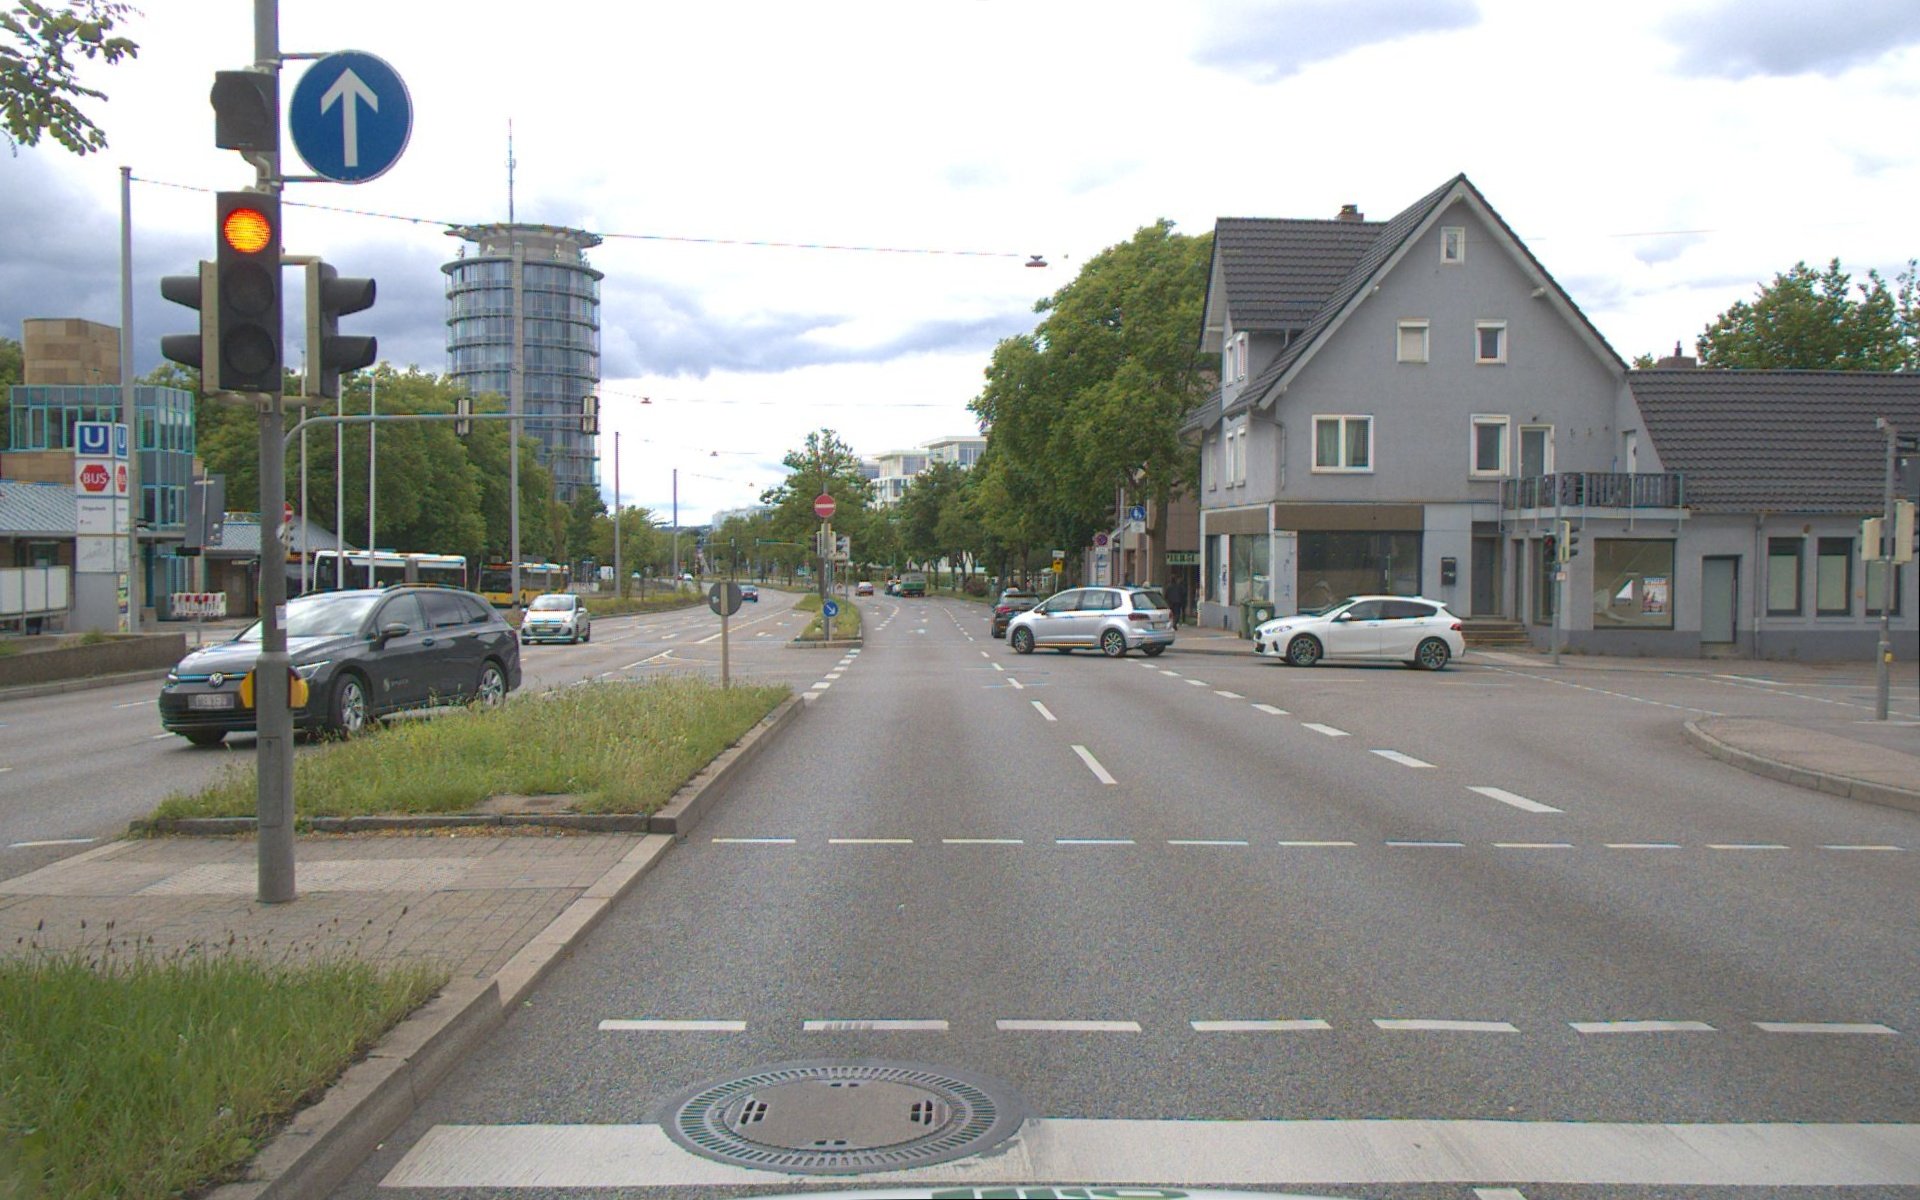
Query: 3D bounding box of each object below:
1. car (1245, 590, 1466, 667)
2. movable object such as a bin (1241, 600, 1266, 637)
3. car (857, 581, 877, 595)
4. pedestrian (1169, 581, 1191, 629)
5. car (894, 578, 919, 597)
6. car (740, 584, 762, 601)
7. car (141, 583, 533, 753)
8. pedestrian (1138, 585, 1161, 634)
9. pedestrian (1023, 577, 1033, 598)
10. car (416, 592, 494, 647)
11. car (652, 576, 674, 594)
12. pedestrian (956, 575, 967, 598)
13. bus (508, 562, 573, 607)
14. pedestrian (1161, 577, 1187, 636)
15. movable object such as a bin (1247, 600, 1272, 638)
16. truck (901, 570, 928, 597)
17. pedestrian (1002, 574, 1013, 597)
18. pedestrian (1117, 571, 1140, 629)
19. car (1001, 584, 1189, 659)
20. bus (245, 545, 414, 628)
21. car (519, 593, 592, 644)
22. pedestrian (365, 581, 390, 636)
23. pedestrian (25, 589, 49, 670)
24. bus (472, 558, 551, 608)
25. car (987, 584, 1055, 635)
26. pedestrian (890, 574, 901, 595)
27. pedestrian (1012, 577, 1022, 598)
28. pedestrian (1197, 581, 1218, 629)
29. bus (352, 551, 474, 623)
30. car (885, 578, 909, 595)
[{"bbox_3d":[8.226,0.570,34.705,4.155,1.503,2.000,1,0,0],"label":"car"},{"bbox_3d":[7.970,0.503,44.950,0.518,0.997,0.736,0,0,-1],"label":"movable object such as a bin"},{"bbox_3d":[-9.711,-1.266,173.022,1.929,1.444,4.017,0,0,-6],"label":"car"},{"bbox_3d":[7.802,0.178,58.610,0.690,1.691,0.871,-1,0,12],"label":"pedestrian"},{"bbox_3d":[-5.393,-1.249,165.001,2.207,1.787,4.927,0,0,-5],"label":"car"},{"bbox_3d":[-19.040,-0.704,150.922,1.668,1.518,3.561,-1,0,-2],"label":"car"},{"bbox_3d":[-6.225,0.595,17.124,1.673,1.507,4.292,-1,1,13],"label":"car"},{"bbox_3d":[5.926,0.292,51.823,0.690,1.533,0.871,0,0,5],"label":"pedestrian"},{"bbox_3d":[5.230,-0.971,127.193,0.638,1.597,0.669,0,0,-9],"label":"pedestrian"},{"bbox_3d":[-15.470,0.564,50.813,1.652,1.606,3.344,0,0,-6],"label":"car"},{"bbox_3d":[-35.897,-1.837,199.742,1.925,2.049,3.999,1,0,-1],"label":"car"},{"bbox_3d":[0.176,-1.437,176.587,0.914,2.349,1.008,1,-1,-10],"label":"pedestrian"},{"bbox_3d":[-31.140,-1.136,123.010,3.081,3.281,7.762,0,0,-2],"label":"bus"},{"bbox_3d":[6.665,0.201,51.506,0.690,1.791,1.052,0,0,1],"label":"pedestrian"},{"bbox_3d":[8.000,0.496,44.160,0.518,0.997,0.736,0,0,-1],"label":"movable object such as a bin"},{"bbox_3d":[-4.340,-1.541,156.425,2.207,2.459,4.927,0,0,-5],"label":"truck"},{"bbox_3d":[4.246,-1.292,147.991,0.951,2.049,0.981,1,-1,-2],"label":"pedestrian"},{"bbox_3d":[5.335,-0.012,52.413,0.690,1.811,0.871,-1,0,5],"label":"pedestrian"},{"bbox_3d":[3.101,0.470,38.460,4.036,1.567,1.820,2,0,39],"label":"car"},{"bbox_3d":[-27.079,-0.562,71.693,2.927,3.307,10.174,-1,0,3],"label":"bus"},{"bbox_3d":[-12.361,0.549,50.725,1.651,1.488,3.552,0,0,-5],"label":"car"},{"bbox_3d":[-20.784,0.301,59.055,0.647,1.930,0.685,0,0,-1],"label":"pedestrian"},{"bbox_3d":[-18.516,0.582,33.178,0.414,1.619,0.353,0,0,-30],"label":"pedestrian"},{"bbox_3d":[-30.778,-1.121,114.012,3.082,3.281,10.279,0,0,-3],"label":"bus"},{"bbox_3d":[1.882,0.295,52.301,1.851,1.521,4.097,-1,0,-2],"label":"car"},{"bbox_3d":[-7.774,-1.885,199.434,1.210,2.444,1.306,0,0,-10],"label":"pedestrian"},{"bbox_3d":[4.376,-0.990,127.447,0.638,1.597,0.669,0,0,-9],"label":"pedestrian"},{"bbox_3d":[8.703,0.169,58.242,0.690,1.691,0.871,0,0,7],"label":"pedestrian"},{"bbox_3d":[-26.541,-0.615,80.717,2.927,3.327,7.879,-1,0,3],"label":"bus"},{"bbox_3d":[-6.593,-1.396,173.779,2.207,1.676,4.927,0,0,-6],"label":"car"}]
